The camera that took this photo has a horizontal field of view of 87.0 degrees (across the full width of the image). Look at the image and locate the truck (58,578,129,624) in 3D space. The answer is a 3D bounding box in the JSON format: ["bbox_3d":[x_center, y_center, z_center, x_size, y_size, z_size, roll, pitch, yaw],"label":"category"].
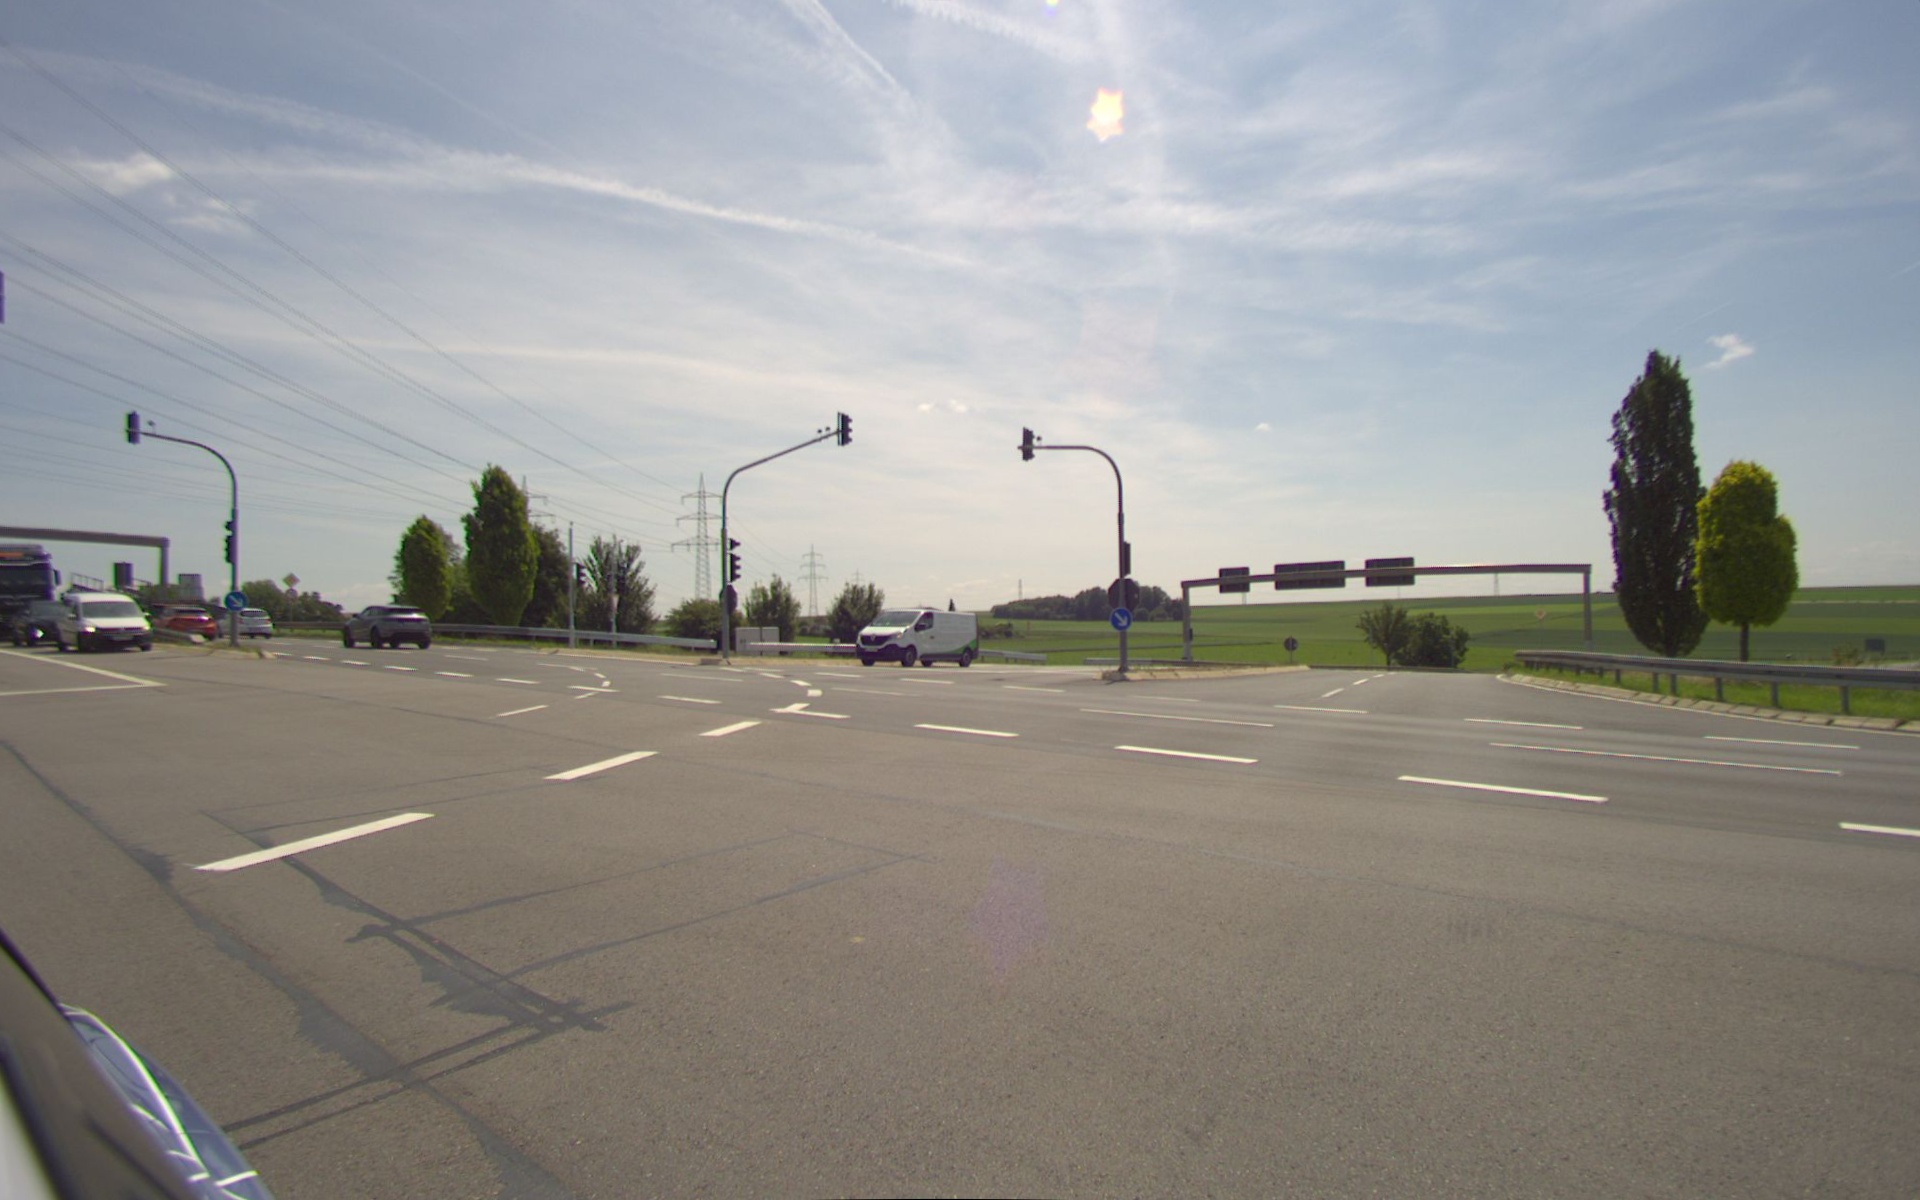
[{"bbox_3d":[-59.722,0.090,69.725,5.985,3.036,2.771,0,0,40],"label":"truck"}]

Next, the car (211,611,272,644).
[{"bbox_3d":[-35.828,1.358,50.439,3.800,1.508,1.627,0,-1,42],"label":"car"}]

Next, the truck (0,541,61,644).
[{"bbox_3d":[-39.891,-0.302,42.109,5.964,4.043,2.756,0,1,39],"label":"truck"}]

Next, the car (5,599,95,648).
[{"bbox_3d":[-33.279,0.831,36.981,4.345,1.670,1.837,0,0,40],"label":"car"}]

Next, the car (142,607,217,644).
[{"bbox_3d":[-34.155,1.103,44.258,4.061,1.508,1.628,0,-2,39],"label":"car"}]

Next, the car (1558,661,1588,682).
[{"bbox_3d":[54.389,6.358,89.747,1.632,1.471,4.433,0,1,40],"label":"car"}]

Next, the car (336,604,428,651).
[{"bbox_3d":[-21.747,1.022,38.037,4.326,1.636,1.627,0,-2,41],"label":"car"}]

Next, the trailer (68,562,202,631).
[{"bbox_3d":[-51.996,-0.237,63.350,19.779,3.791,2.613,0,0,39],"label":"trailer"}]

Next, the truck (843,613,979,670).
[{"bbox_3d":[-1.545,1.390,34.253,1.994,1.770,5.224,0,-2,32],"label":"truck"}]

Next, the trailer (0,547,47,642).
[{"bbox_3d":[-45.108,-0.214,46.312,13.771,3.943,2.756,0,1,39],"label":"trailer"}]

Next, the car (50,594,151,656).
[{"bbox_3d":[-27.152,0.747,31.909,4.750,1.812,1.749,0,0,41],"label":"car"}]
